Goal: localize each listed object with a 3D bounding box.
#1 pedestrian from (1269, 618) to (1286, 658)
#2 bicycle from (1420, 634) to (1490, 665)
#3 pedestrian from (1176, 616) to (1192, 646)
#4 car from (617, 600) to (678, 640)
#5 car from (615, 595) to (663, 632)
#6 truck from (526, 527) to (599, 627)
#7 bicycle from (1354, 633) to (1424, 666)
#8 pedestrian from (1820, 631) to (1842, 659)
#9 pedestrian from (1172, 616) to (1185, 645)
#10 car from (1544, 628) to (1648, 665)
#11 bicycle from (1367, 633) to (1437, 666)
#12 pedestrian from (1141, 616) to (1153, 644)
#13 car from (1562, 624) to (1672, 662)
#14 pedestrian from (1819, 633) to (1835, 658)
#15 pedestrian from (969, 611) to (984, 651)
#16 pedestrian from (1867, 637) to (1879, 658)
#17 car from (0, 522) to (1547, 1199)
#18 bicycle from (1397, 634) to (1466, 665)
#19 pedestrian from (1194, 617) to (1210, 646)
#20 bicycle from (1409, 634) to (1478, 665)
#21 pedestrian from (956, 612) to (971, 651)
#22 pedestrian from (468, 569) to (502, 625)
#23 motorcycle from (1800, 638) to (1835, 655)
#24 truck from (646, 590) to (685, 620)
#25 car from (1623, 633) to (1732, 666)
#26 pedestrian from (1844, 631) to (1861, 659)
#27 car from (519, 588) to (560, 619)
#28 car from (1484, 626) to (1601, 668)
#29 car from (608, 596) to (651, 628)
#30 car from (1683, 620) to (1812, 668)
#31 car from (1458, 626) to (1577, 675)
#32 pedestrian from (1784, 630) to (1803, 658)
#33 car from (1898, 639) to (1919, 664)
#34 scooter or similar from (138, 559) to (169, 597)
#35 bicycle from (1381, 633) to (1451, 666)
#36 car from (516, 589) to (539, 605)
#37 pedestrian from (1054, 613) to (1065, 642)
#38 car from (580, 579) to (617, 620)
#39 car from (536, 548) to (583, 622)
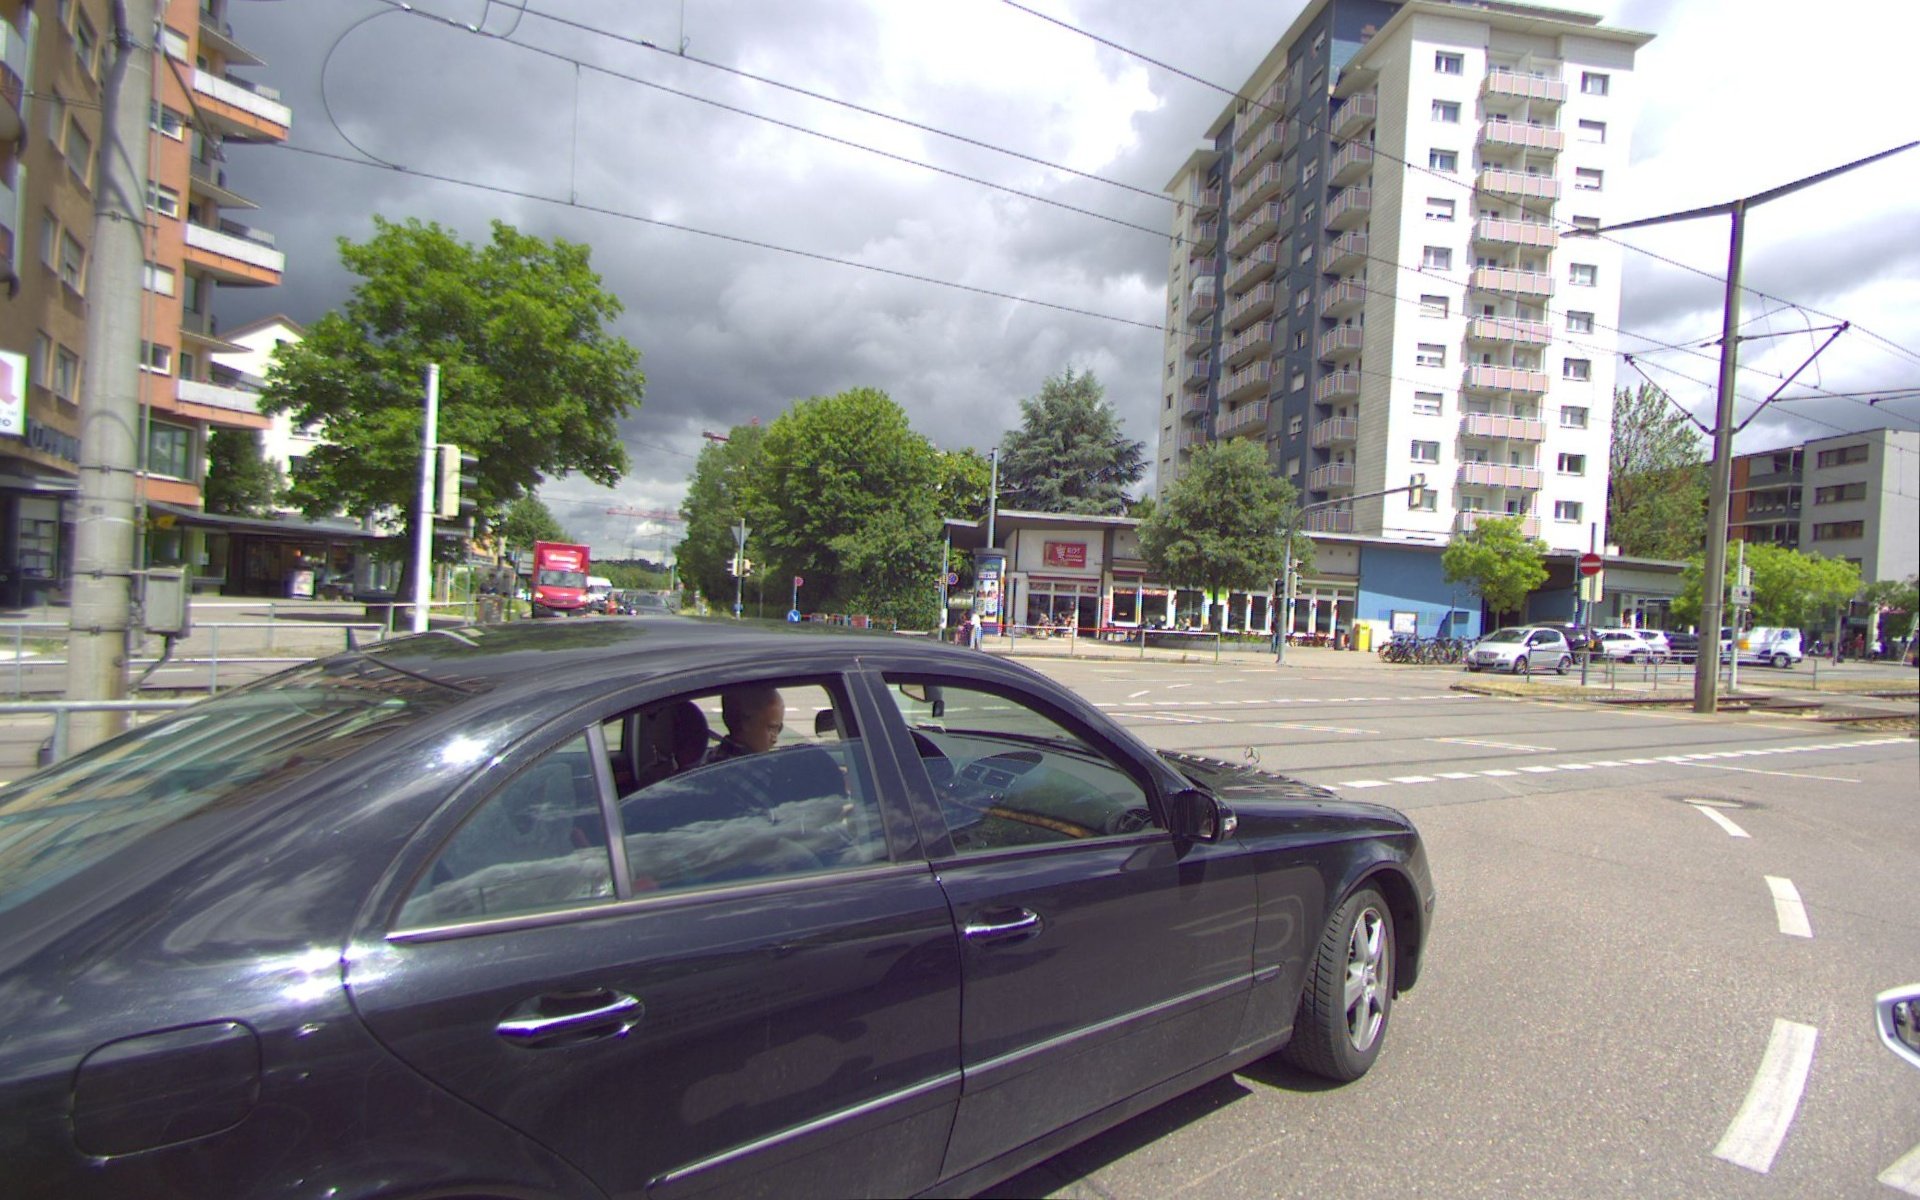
[{"bbox_3d":[13.490,1.623,42.681,0.594,1.665,0.414,2,0,-33],"label":"pedestrian"},{"bbox_3d":[19.025,1.894,38.653,0.696,1.080,2.416,2,-1,-29],"label":"bicycle"},{"bbox_3d":[11.500,1.600,51.498,0.565,1.492,0.522,2,0,-27],"label":"pedestrian"},{"bbox_3d":[-12.912,0.799,41.340,1.972,1.514,3.978,2,-1,-23],"label":"car"},{"bbox_3d":[-15.361,0.621,47.961,1.970,1.623,3.980,2,-1,-21],"label":"car"},{"bbox_3d":[-16.557,-0.851,41.609,2.511,3.723,7.060,2,-1,-23],"label":"truck"},{"bbox_3d":[15.615,1.785,36.633,0.696,1.080,2.416,2,-1,-29],"label":"bicycle"},{"bbox_3d":[54.510,2.812,62.871,0.604,1.672,0.839,2,1,-21],"label":"pedestrian"},{"bbox_3d":[11.504,1.616,52.982,0.516,1.492,0.572,1,0,-1],"label":"pedestrian"},{"bbox_3d":[29.029,2.112,45.979,3.692,1.516,1.747,1,0,20],"label":"car"},{"bbox_3d":[16.274,1.806,37.040,0.696,1.080,2.416,2,-1,-29],"label":"bicycle"},{"bbox_3d":[9.820,1.571,52.793,0.515,1.492,0.572,1,0,2],"label":"pedestrian"},{"bbox_3d":[31.188,2.013,47.780,3.919,1.653,1.907,1,0,14],"label":"car"},{"bbox_3d":[57.015,2.966,66.085,0.654,1.594,0.687,1,0,31],"label":"pedestrian"},{"bbox_3d":[0.634,1.185,38.727,0.516,1.492,0.518,1,0,-4],"label":"pedestrian"},{"bbox_3d":[64.095,3.340,70.493,0.490,1.479,0.559,1,0,31],"label":"pedestrian"},{"bbox_3d":[-0.415,0.659,2.798,4.633,1.417,1.956,2,-1,-38],"label":"car"},{"bbox_3d":[17.749,1.853,37.883,0.696,1.080,2.416,2,-1,-29],"label":"bicycle"},{"bbox_3d":[12.483,1.629,51.876,0.565,1.492,0.522,2,0,-27],"label":"pedestrian"},{"bbox_3d":[18.383,1.873,38.239,0.696,1.080,2.416,2,-1,-29],"label":"bicycle"},{"bbox_3d":[0.140,1.221,39.266,0.516,1.492,0.572,1,0,-4],"label":"pedestrian"},{"bbox_3d":[-15.867,-0.091,33.544,0.873,1.835,0.641,1,0,34],"label":"pedestrian"},{"bbox_3d":[63.777,3.442,74.706,0.734,1.194,1.881,2,-1,-33],"label":"motorcycle"},{"bbox_3d":[-27.246,0.463,92.759,2.906,2.583,6.999,2,-1,-21],"label":"truck"},{"bbox_3d":[35.068,2.401,49.197,3.920,1.402,1.907,1,0,18],"label":"car"},{"bbox_3d":[58.452,2.945,65.783,0.834,1.816,0.608,2,0,-32],"label":"pedestrian"},{"bbox_3d":[-23.668,0.200,56.669,1.970,1.623,3.980,2,-1,-21],"label":"car"},{"bbox_3d":[24.988,1.979,43.212,3.919,1.612,1.934,1,0,12],"label":"car"},{"bbox_3d":[-17.727,0.623,53.815,1.970,1.623,3.980,2,-1,-21],"label":"car"},{"bbox_3d":[39.444,2.164,50.434,4.667,2.185,1.907,1,0,18],"label":"car"},{"bbox_3d":[19.026,1.703,34.292,3.706,1.553,1.811,2,-1,-27],"label":"car"},{"bbox_3d":[55.252,2.887,66.597,0.829,1.816,0.872,1,0,32],"label":"pedestrian"},{"bbox_3d":[59.397,3.191,61.426,4.327,1.447,1.727,2,-1,-29],"label":"car"},{"bbox_3d":[-24.621,-0.660,30.680,0.539,1.108,1.737,2,0,-33],"label":"scooter or similar"},{"bbox_3d":[16.956,1.828,37.438,0.696,1.080,2.416,2,-1,-29],"label":"bicycle"},{"bbox_3d":[-45.849,-0.307,106.528,1.970,1.623,3.980,2,-1,-21],"label":"car"},{"bbox_3d":[5.256,1.452,53.154,0.515,1.492,0.572,1,0,2],"label":"pedestrian"},{"bbox_3d":[-26.218,-0.022,72.737,2.400,2.825,4.873,2,-1,-21],"label":"car"},{"bbox_3d":[-19.617,-0.676,49.298,1.971,3.343,6.273,2,-1,-21],"label":"car"}]
